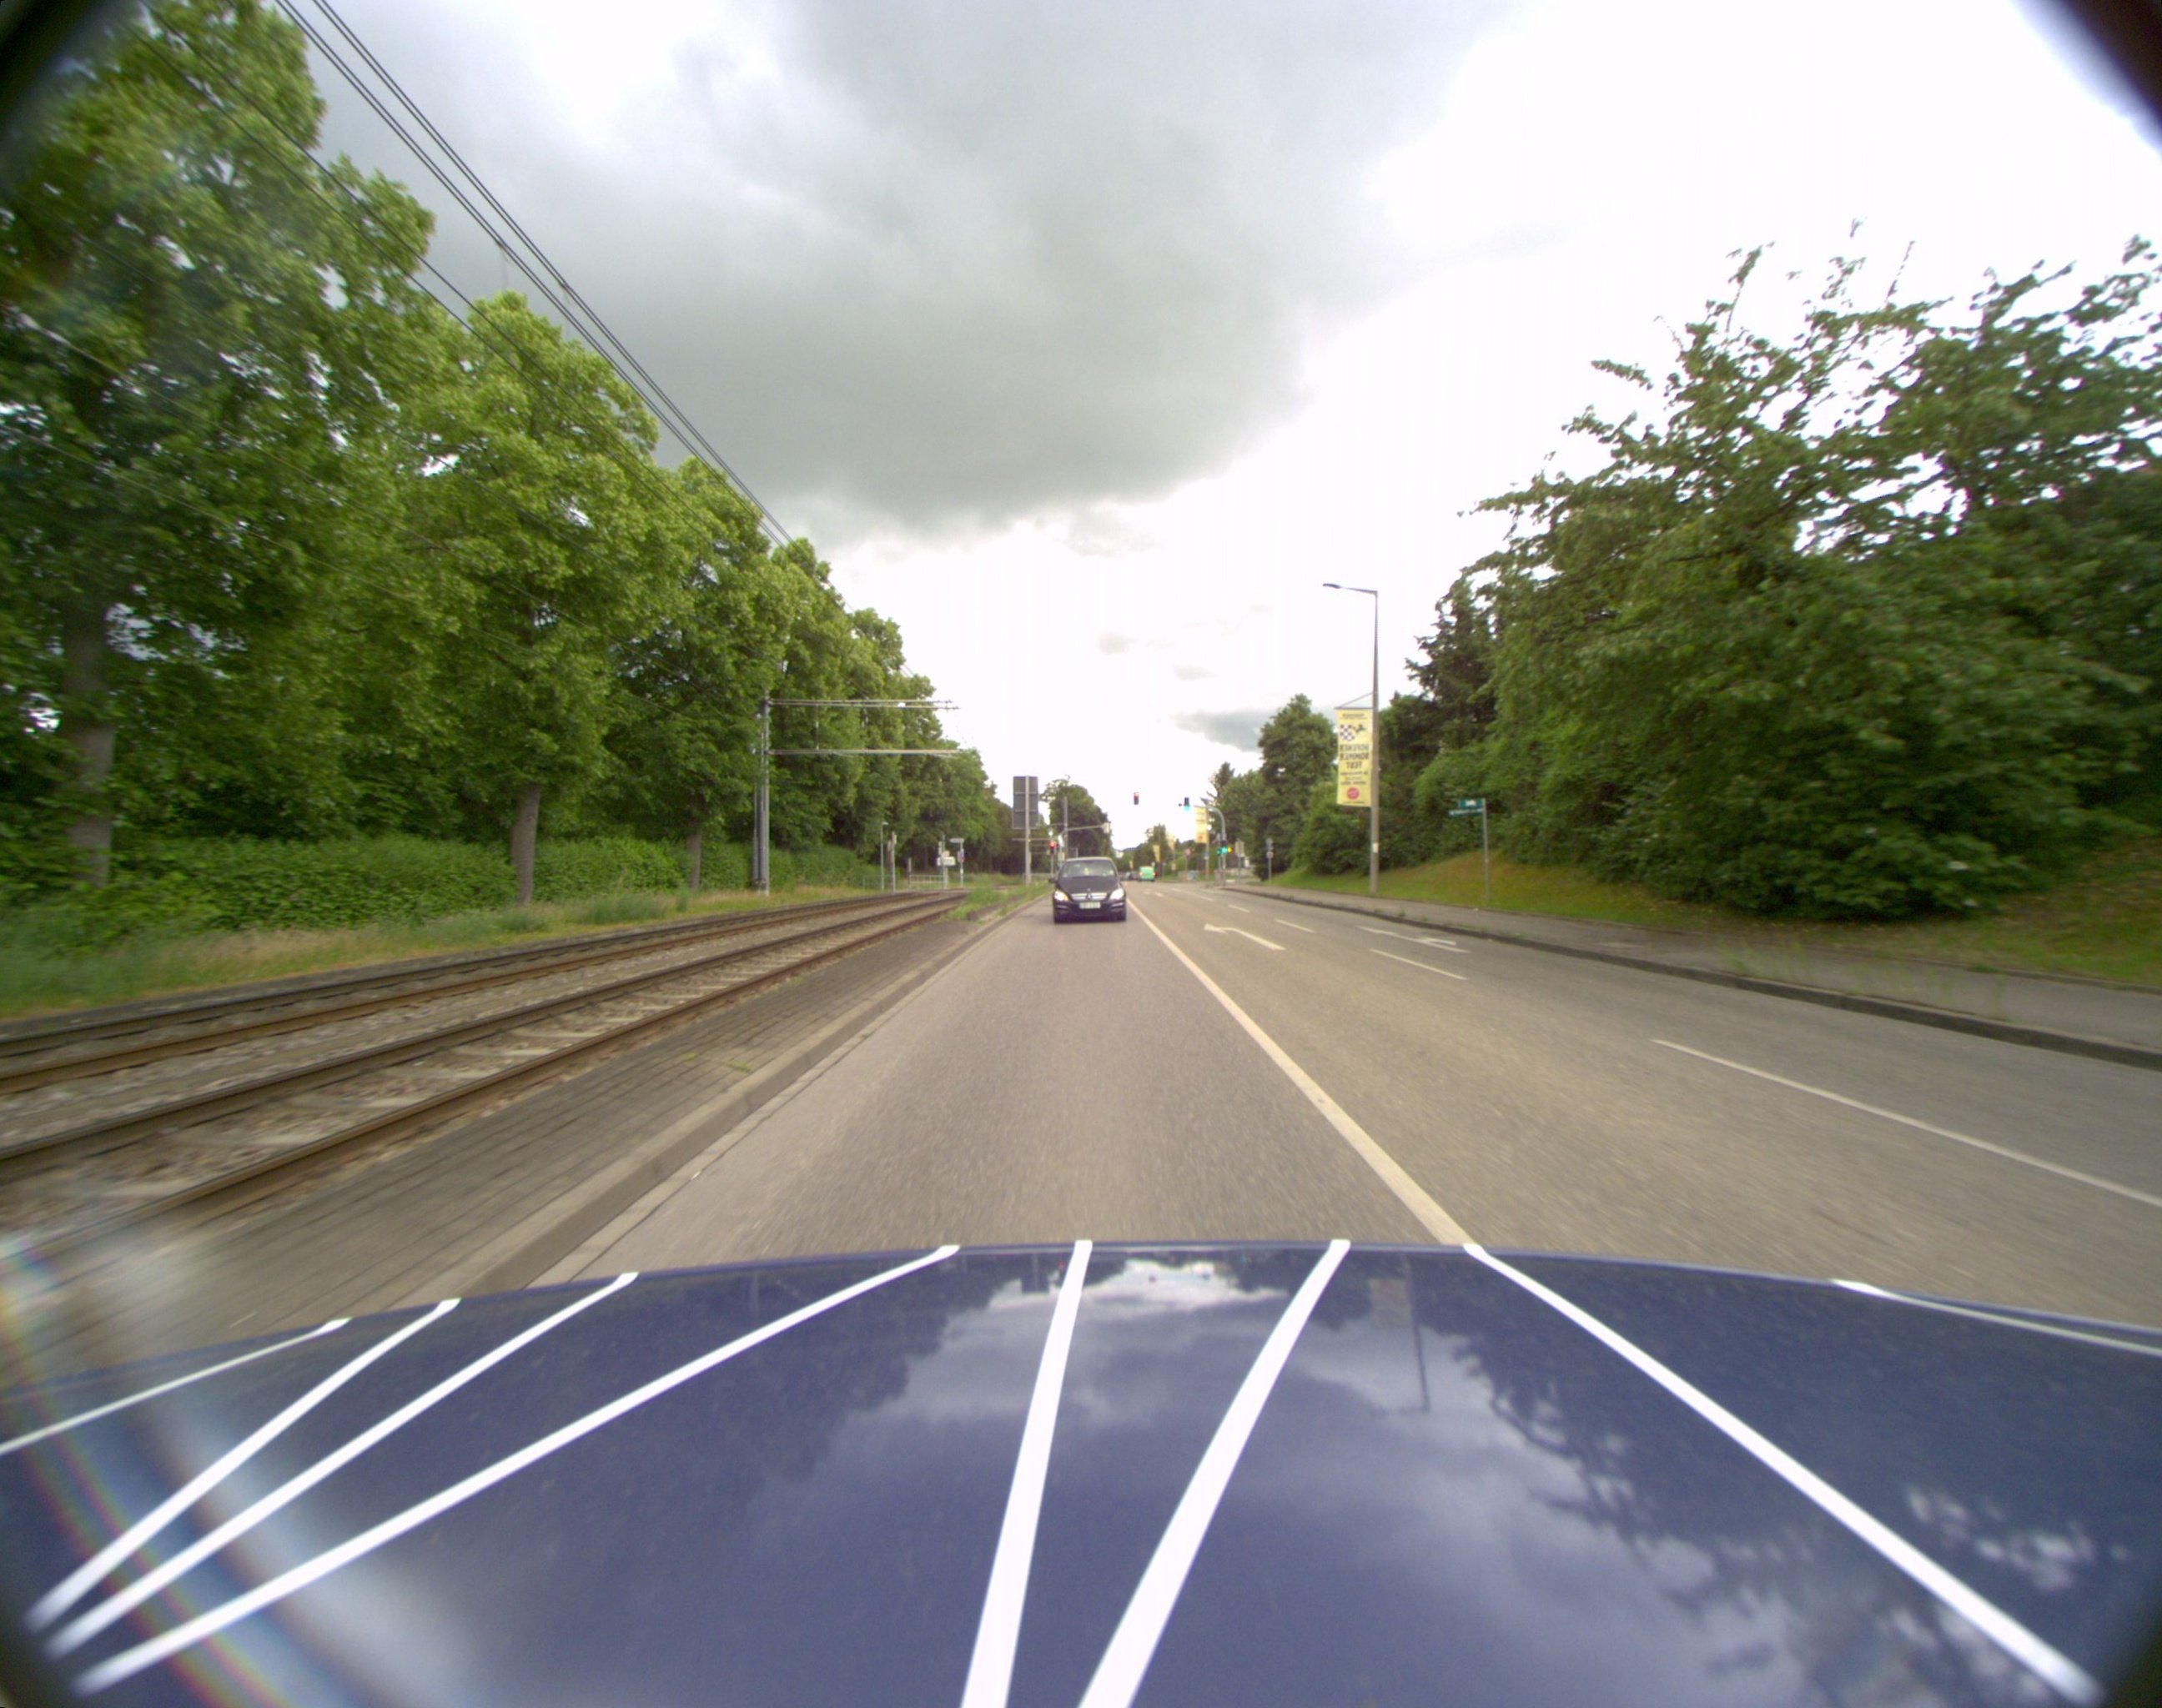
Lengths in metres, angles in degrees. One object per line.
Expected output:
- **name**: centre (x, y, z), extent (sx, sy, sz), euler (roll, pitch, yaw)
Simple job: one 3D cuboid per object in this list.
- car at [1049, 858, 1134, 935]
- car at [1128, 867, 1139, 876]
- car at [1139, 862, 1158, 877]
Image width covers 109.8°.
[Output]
- **car**: centre (0.245, 0.932, 18.425), extent (1.749, 1.558, 4.121), euler (-3, 0, 1)
- **car**: centre (9.640, 3.196, 139.134), extent (1.903, 1.570, 4.279), euler (1, 1, 2)
- **car**: centre (8.260, 1.913, 93.675), extent (2.063, 1.799, 4.730), euler (1, -1, 1)
